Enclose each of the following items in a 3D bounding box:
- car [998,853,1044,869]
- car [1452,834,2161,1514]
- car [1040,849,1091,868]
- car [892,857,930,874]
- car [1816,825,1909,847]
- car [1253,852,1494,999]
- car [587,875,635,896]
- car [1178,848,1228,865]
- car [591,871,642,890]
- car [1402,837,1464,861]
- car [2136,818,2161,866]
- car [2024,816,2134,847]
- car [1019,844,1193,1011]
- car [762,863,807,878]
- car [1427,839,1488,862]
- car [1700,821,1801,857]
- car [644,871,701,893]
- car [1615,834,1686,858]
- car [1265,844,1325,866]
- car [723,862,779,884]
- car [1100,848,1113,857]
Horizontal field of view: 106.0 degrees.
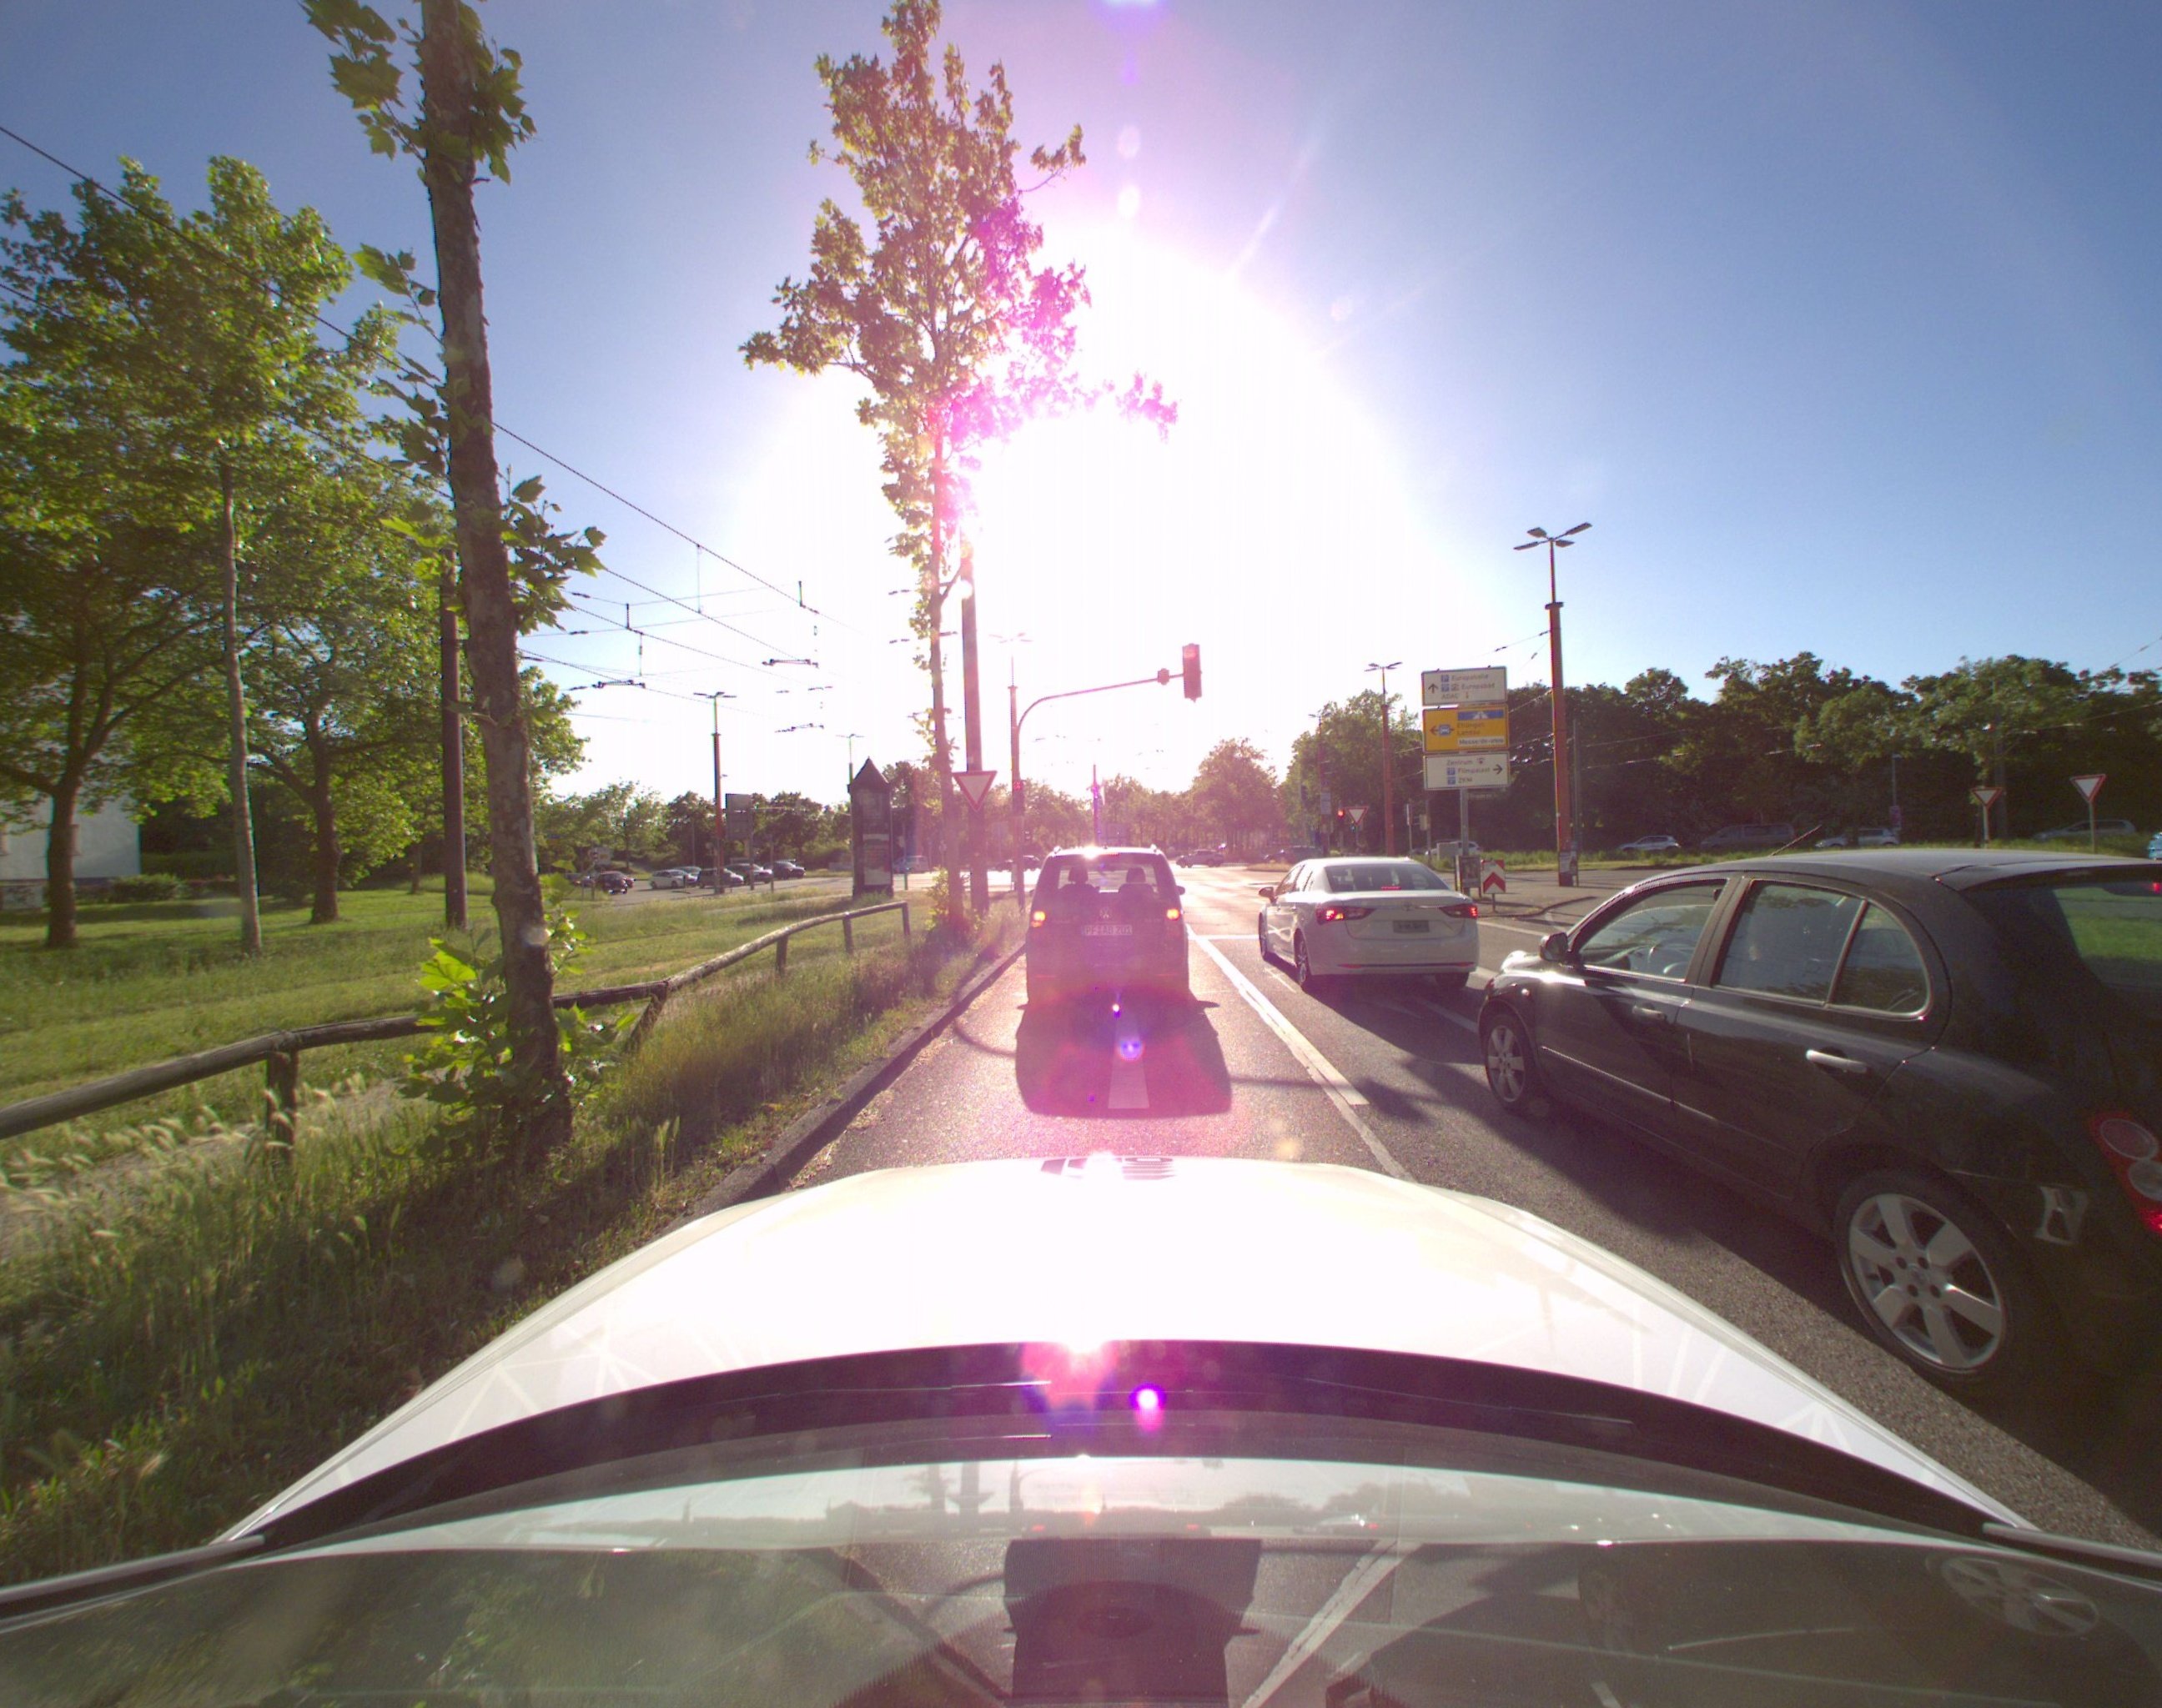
[{"bbox_3d":[-5.801,0.675,79.004,4.082,1.511,1.834,0,-1,28],"label":"car"},{"bbox_3d":[3.221,0.698,3.586,1.647,1.500,3.617,-1,0,2],"label":"car"},{"bbox_3d":[-1.385,0.384,72.775,4.139,1.644,1.770,0,-1,28],"label":"car"},{"bbox_3d":[-17.791,1.195,85.234,3.608,1.655,1.690,0,-1,27],"label":"car"},{"bbox_3d":[47.551,-1.072,49.648,3.792,1.264,1.613,0,-1,28],"label":"car"},{"bbox_3d":[3.329,0.709,10.155,1.713,1.438,4.202,-1,0,3],"label":"car"},{"bbox_3d":[-33.773,2.248,58.479,2.812,1.390,1.815,-2,0,31],"label":"car"},{"bbox_3d":[10.542,0.204,70.222,3.926,1.441,1.697,0,-1,29],"label":"car"},{"bbox_3d":[-38.741,2.203,67.911,3.949,1.513,1.743,-2,0,27],"label":"car"},{"bbox_3d":[26.849,-0.386,62.111,4.080,1.644,1.864,-2,0,29],"label":"car"},{"bbox_3d":[35.918,-0.439,24.991,4.087,1.450,1.747,-3,2,16],"label":"car"},{"bbox_3d":[52.551,-1.173,42.965,3.362,1.457,1.474,-2,0,28],"label":"car"},{"bbox_3d":[0.297,0.725,9.934,1.694,1.621,3.898,-1,0,1],"label":"car"},{"bbox_3d":[-26.529,1.480,72.856,3.948,1.330,1.709,-2,0,33],"label":"car"},{"bbox_3d":[26.605,-0.238,57.584,3.783,1.523,1.706,-2,0,29],"label":"car"},{"bbox_3d":[40.836,-0.914,49.825,4.526,2.013,2.013,-2,0,32],"label":"car"},{"bbox_3d":[-32.422,2.224,64.614,4.135,1.612,1.880,-2,0,27],"label":"car"},{"bbox_3d":[38.217,-0.541,54.749,3.700,1.473,1.610,-2,0,28],"label":"car"},{"bbox_3d":[16.637,0.051,63.300,4.080,1.598,1.840,-2,0,29],"label":"car"},{"bbox_3d":[-26.448,1.543,65.333,3.950,1.644,2.012,-2,0,26],"label":"car"},{"bbox_3d":[4.752,-0.278,153.177,1.904,1.635,4.010,0,0,9],"label":"car"}]
